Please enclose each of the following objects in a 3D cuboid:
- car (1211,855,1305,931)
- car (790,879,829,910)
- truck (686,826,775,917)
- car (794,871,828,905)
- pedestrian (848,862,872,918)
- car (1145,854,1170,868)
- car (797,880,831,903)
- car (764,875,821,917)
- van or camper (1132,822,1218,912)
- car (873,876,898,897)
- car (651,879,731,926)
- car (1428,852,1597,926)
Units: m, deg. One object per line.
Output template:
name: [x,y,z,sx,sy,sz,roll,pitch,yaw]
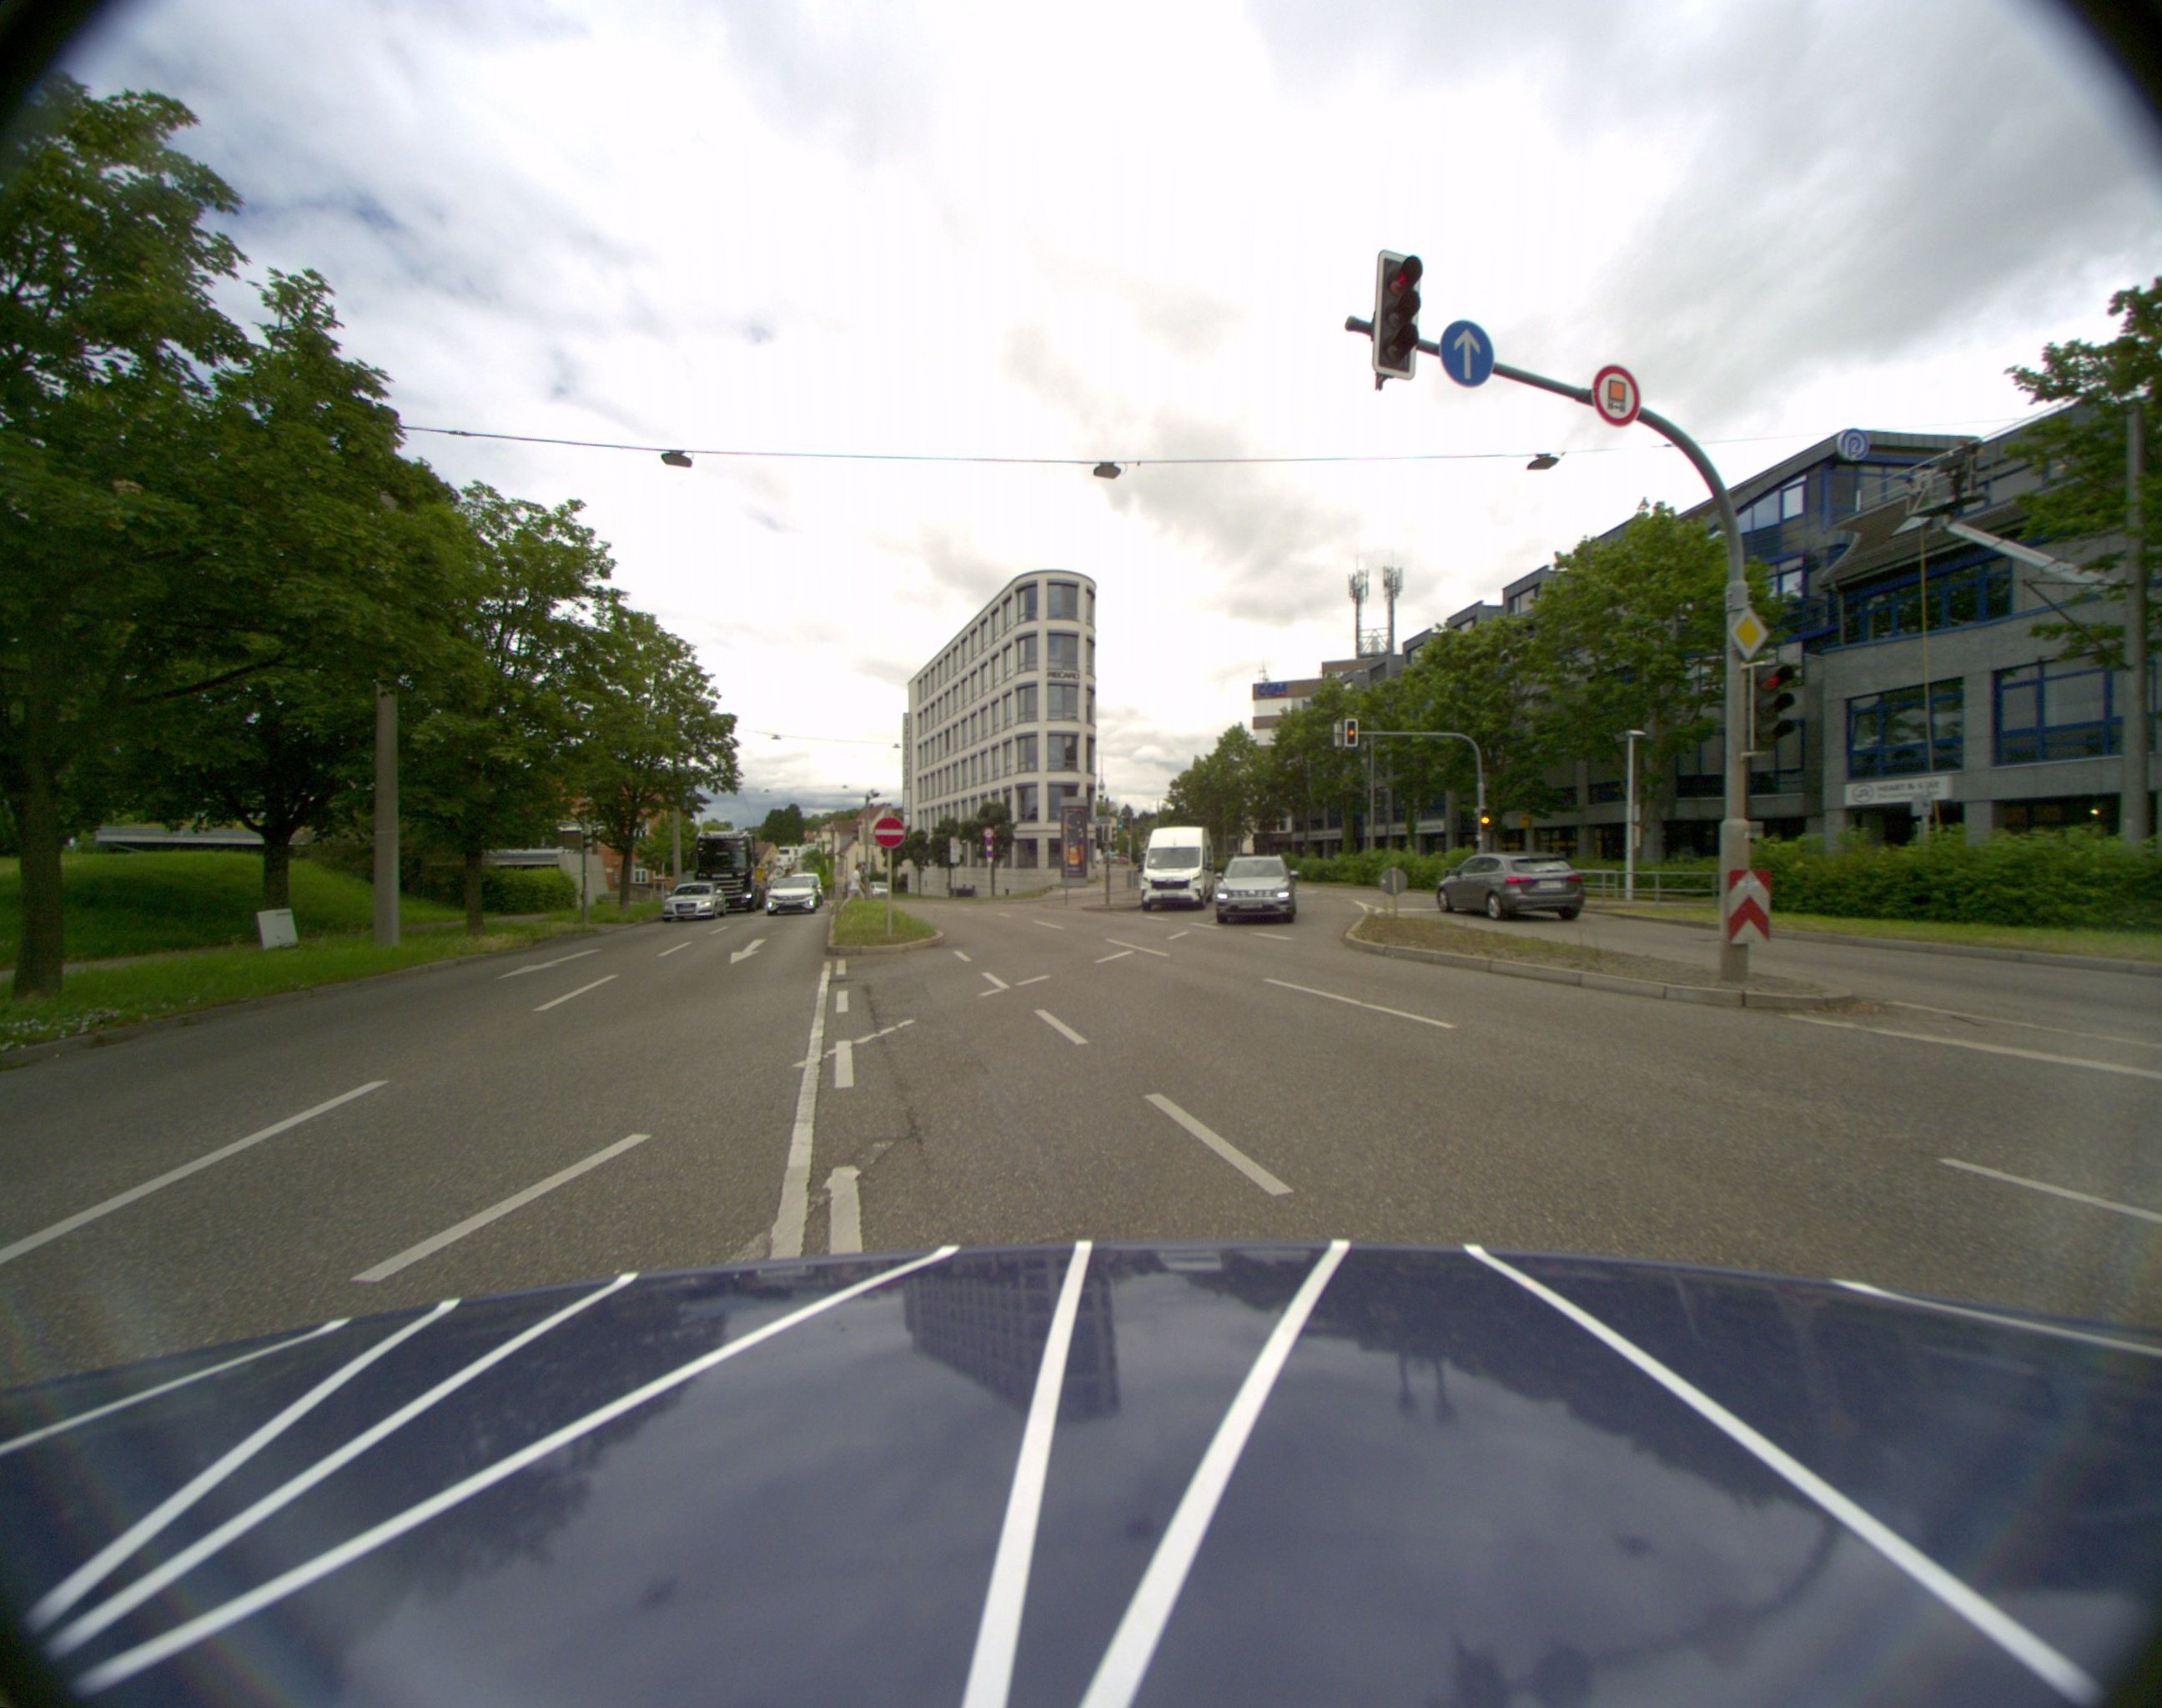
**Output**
car: [4.632,0.908,19.404,1.831,1.636,4.332,-2,0,19]
car: [-13.476,1.967,37.884,1.655,1.366,3.972,-2,-1,-18]
truck: [-17.106,0.785,37.696,2.831,3.902,9.443,-2,0,-19]
car: [-15.811,1.943,44.426,1.757,1.786,4.281,-2,-1,-20]
pedestrian: [-7.785,1.251,26.781,0.757,1.906,0.587,-1,0,-18]
car: [8.039,0.702,80.306,1.850,1.428,4.703,0,0,-4]
car: [-17.979,2.461,51.015,1.757,1.368,4.279,-2,-1,-24]
car: [-11.731,1.643,31.127,1.857,1.520,4.482,-2,-1,-17]
van or camper: [3.396,0.375,26.237,2.108,2.674,6.305,-2,0,14]
car: [-21.881,3.604,84.928,2.180,2.002,3.992,-1,1,-22]
car: [-14.666,1.772,28.797,1.991,1.434,4.152,-2,0,-17]
car: [10.200,0.763,18.412,1.787,1.528,4.397,-2,0,4]
